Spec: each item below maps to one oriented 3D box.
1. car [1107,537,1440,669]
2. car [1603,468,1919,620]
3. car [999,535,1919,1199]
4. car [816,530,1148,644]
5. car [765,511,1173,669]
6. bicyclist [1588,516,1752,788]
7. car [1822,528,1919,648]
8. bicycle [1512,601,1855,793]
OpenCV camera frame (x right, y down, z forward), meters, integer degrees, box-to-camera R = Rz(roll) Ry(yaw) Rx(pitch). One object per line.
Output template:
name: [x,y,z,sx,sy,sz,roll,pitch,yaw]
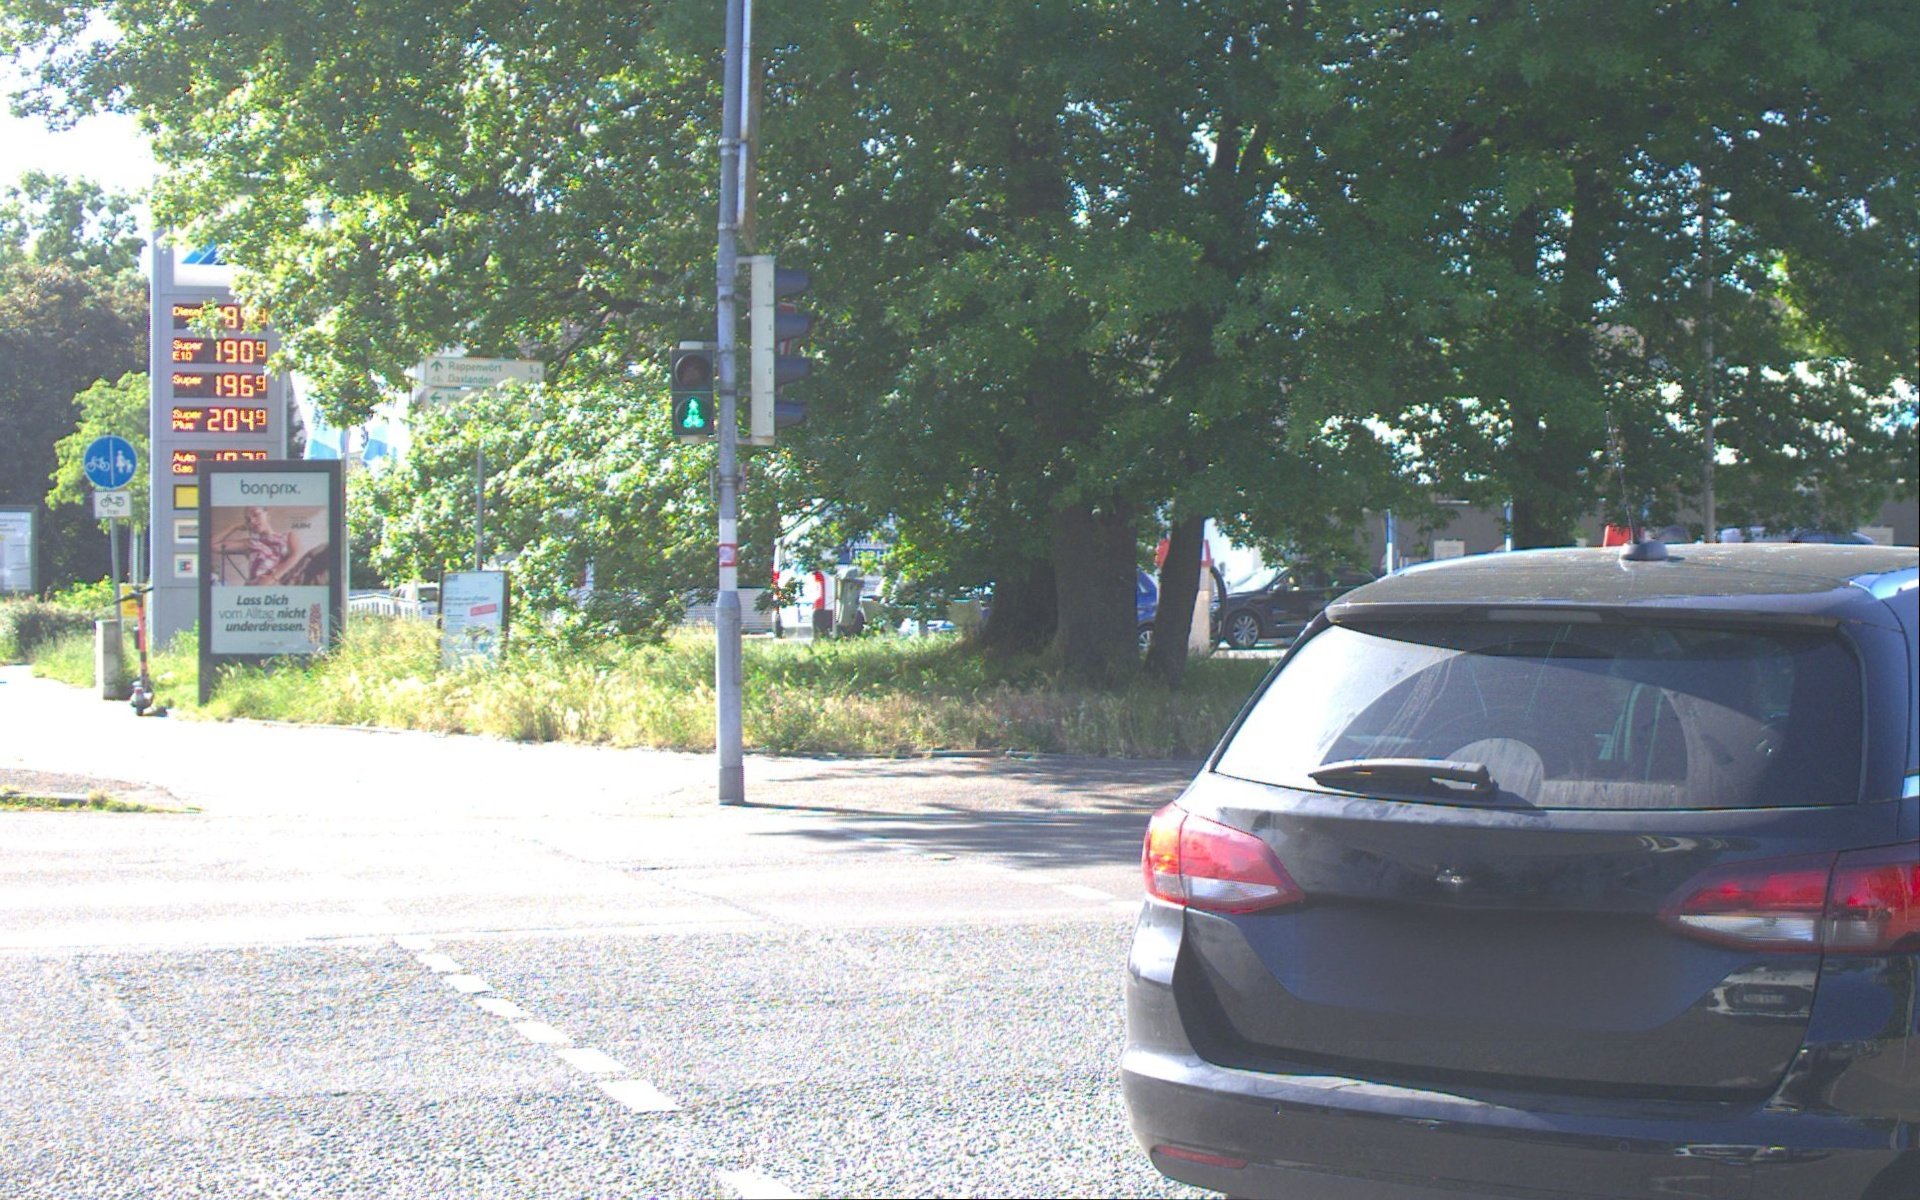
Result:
car: [3.984,0.051,43.587,3.986,1.507,1.532,2,-1,-29]
car: [8.555,-0.539,35.330,3.988,1.371,1.759,3,-1,-42]
car: [1.978,0.625,7.564,1.765,1.486,4.283,1,1,33]
car: [0.304,-0.160,45.380,3.986,1.330,1.799,2,-1,-30]
car: [0.137,-0.119,50.849,5.633,2.092,2.000,2,-1,-20]
bicyclist: [4.349,0.309,21.080,0.827,1.636,0.543,0,0,-13]
car: [14.400,-0.107,48.283,3.986,1.601,2.000,2,-1,-20]
bicycle: [4.434,0.583,21.090,2.019,1.138,0.529,0,0,-13]
